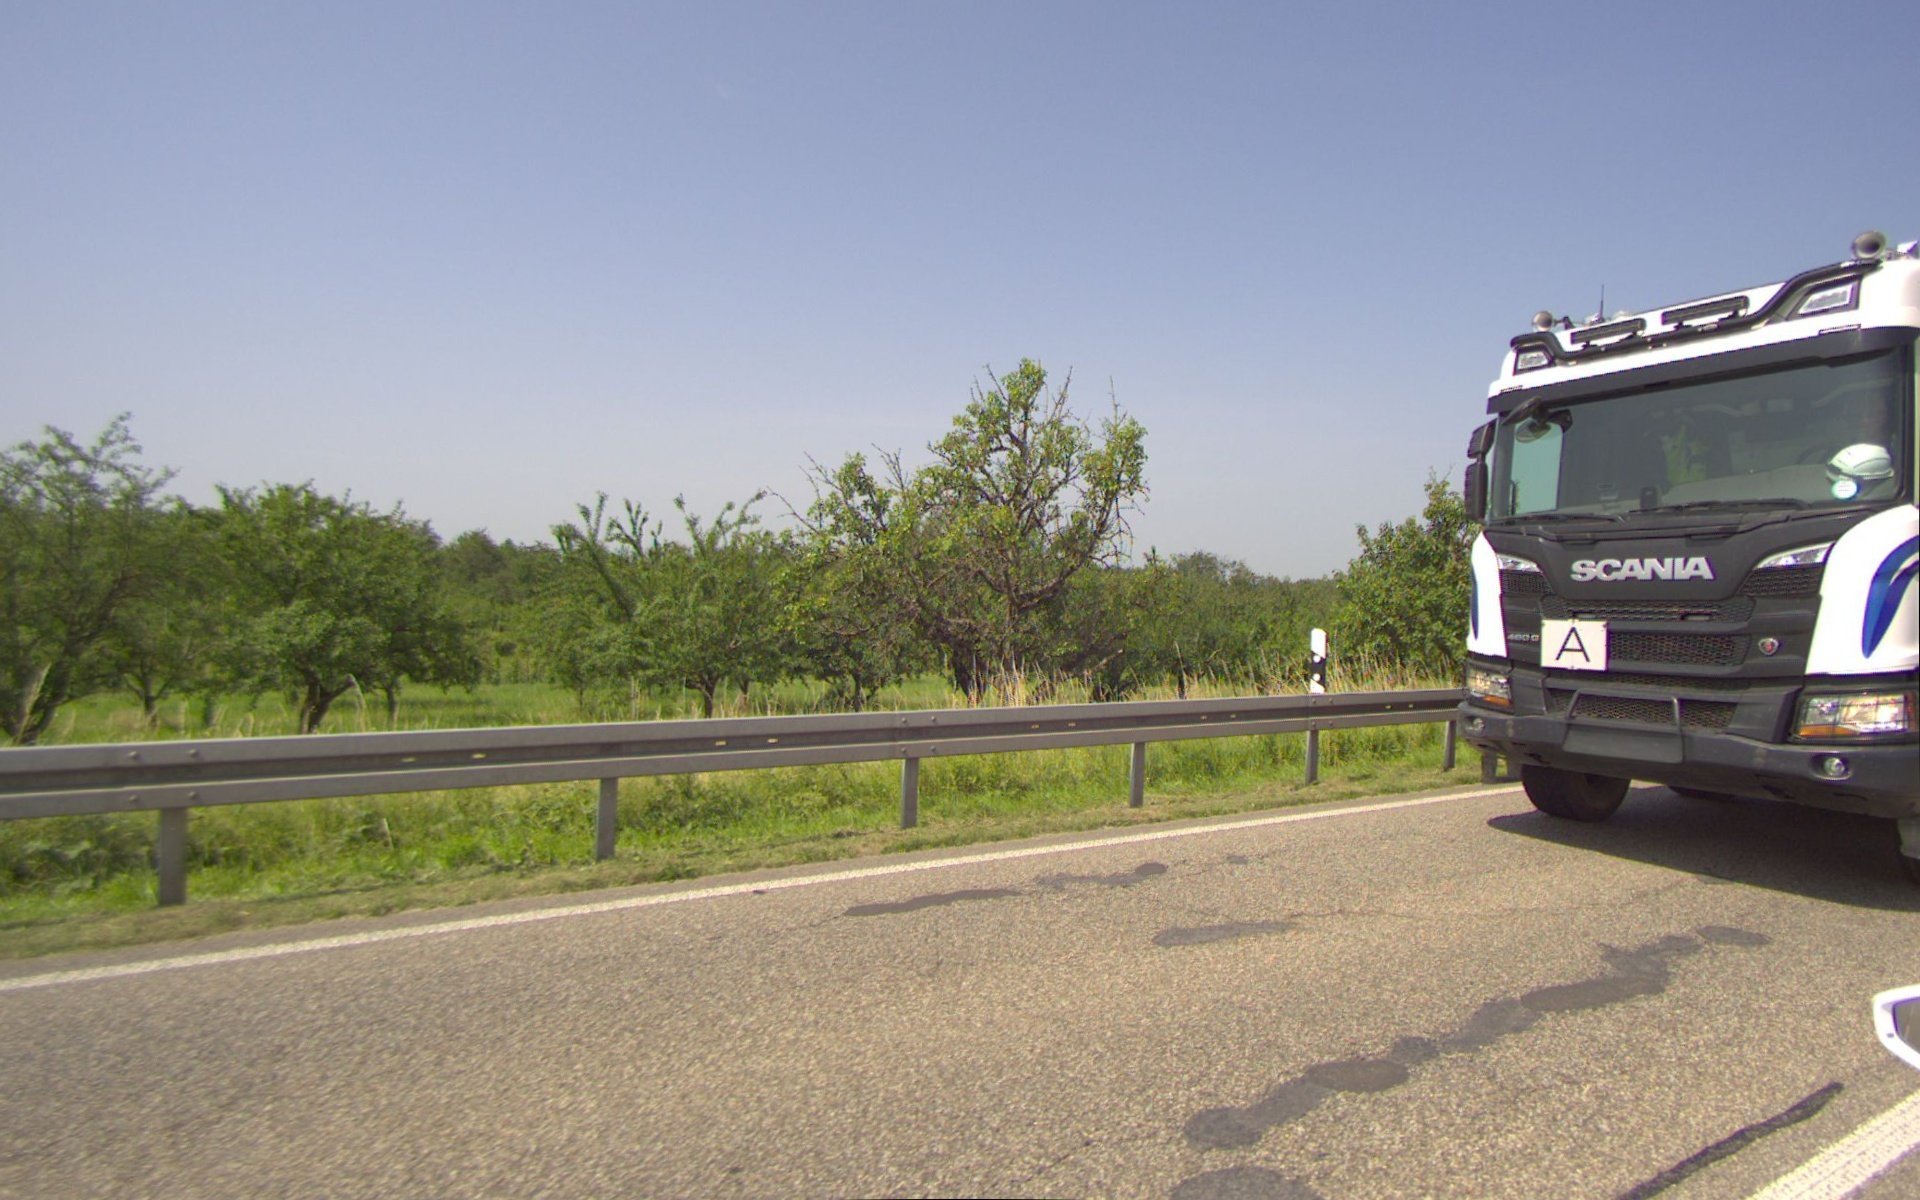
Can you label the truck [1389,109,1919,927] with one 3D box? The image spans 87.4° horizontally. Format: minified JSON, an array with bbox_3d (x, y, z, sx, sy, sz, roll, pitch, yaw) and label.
[{"bbox_3d":[7.654,-0.271,8.105,9.274,3.721,2.715,2,0,-31],"label":"truck"}]
